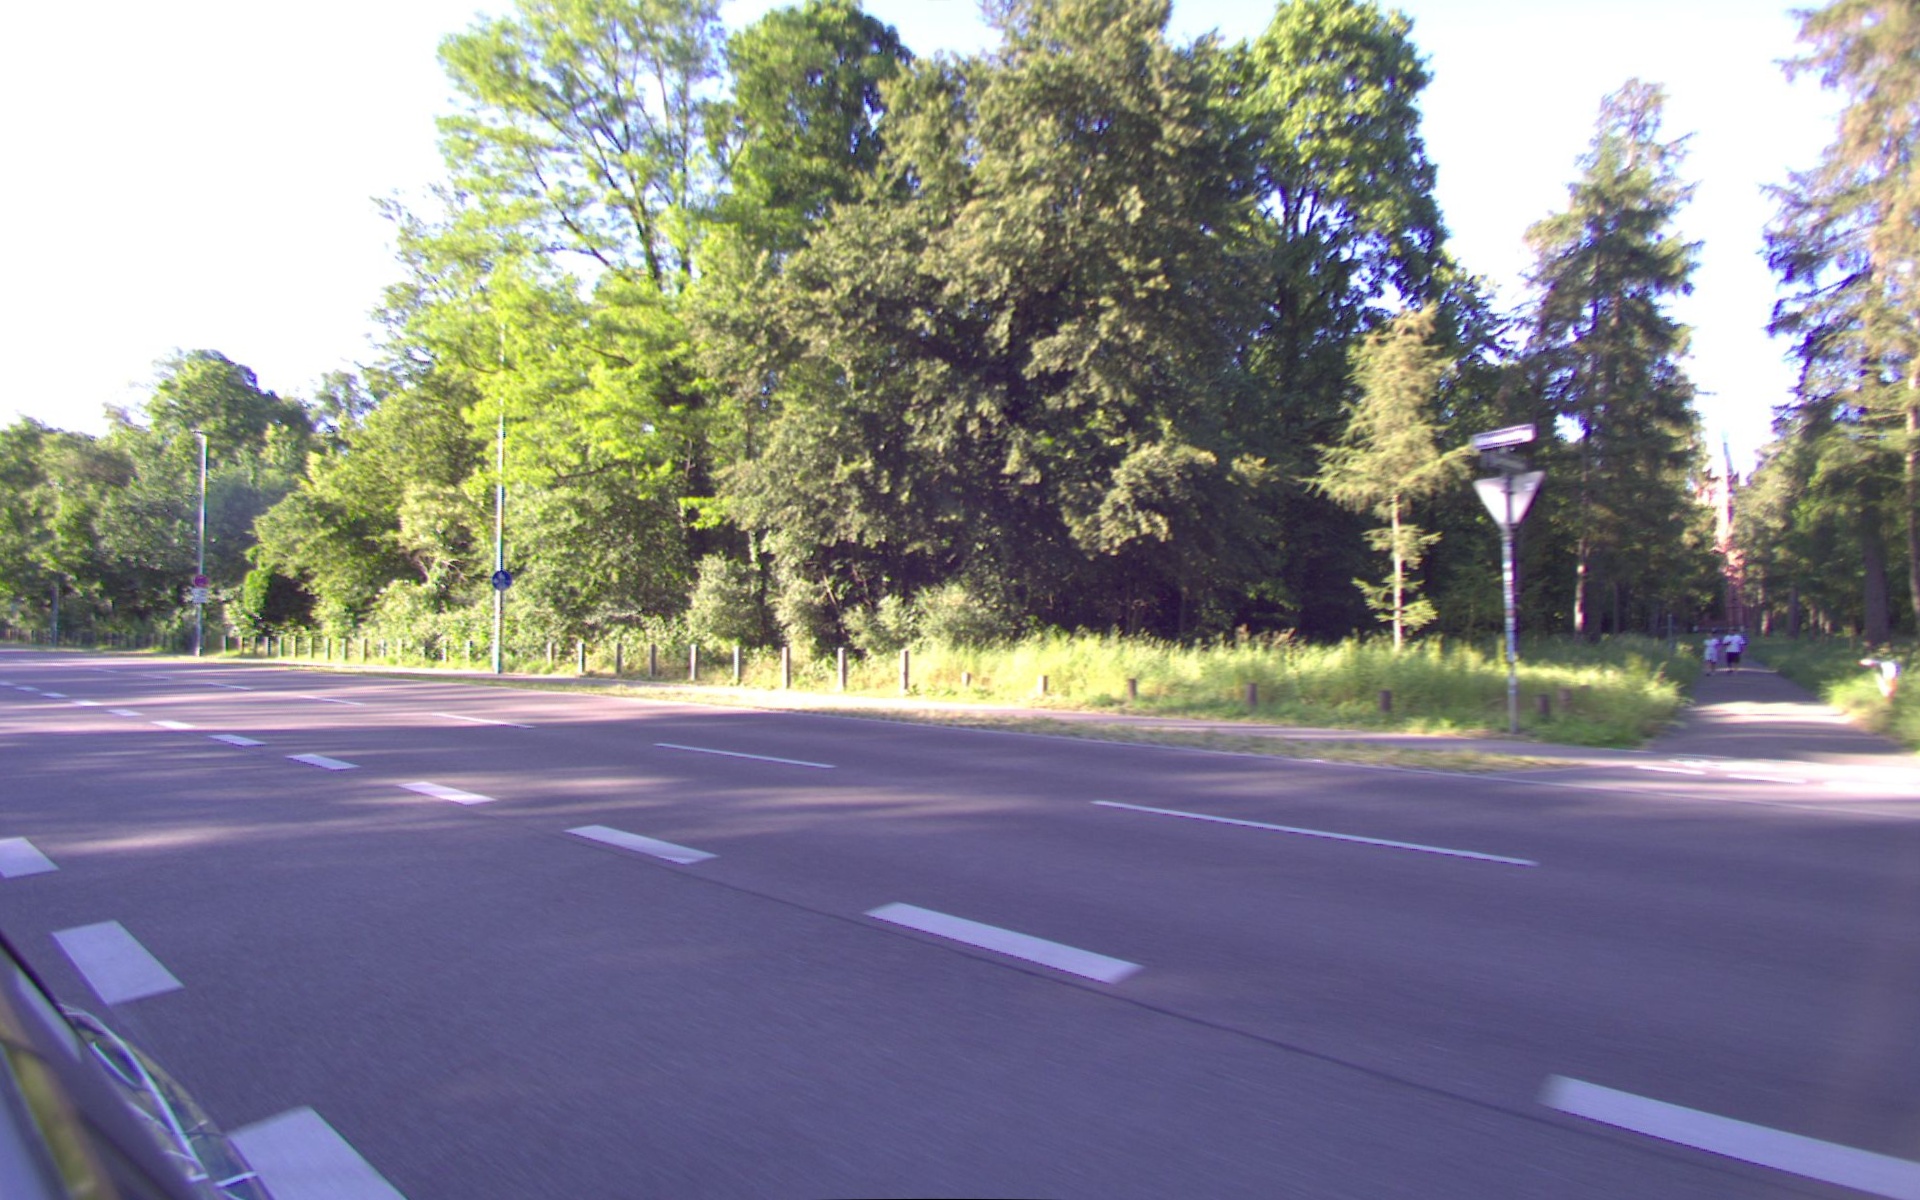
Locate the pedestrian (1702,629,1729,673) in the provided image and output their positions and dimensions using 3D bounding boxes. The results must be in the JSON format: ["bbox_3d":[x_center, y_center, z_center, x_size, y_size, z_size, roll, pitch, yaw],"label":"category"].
[{"bbox_3d":[27.866,1.870,37.330,0.715,1.623,0.538,-2,-2,41],"label":"pedestrian"}]

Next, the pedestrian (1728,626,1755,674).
[{"bbox_3d":[28.423,1.812,36.804,0.715,1.694,0.538,-2,-2,41],"label":"pedestrian"}]
